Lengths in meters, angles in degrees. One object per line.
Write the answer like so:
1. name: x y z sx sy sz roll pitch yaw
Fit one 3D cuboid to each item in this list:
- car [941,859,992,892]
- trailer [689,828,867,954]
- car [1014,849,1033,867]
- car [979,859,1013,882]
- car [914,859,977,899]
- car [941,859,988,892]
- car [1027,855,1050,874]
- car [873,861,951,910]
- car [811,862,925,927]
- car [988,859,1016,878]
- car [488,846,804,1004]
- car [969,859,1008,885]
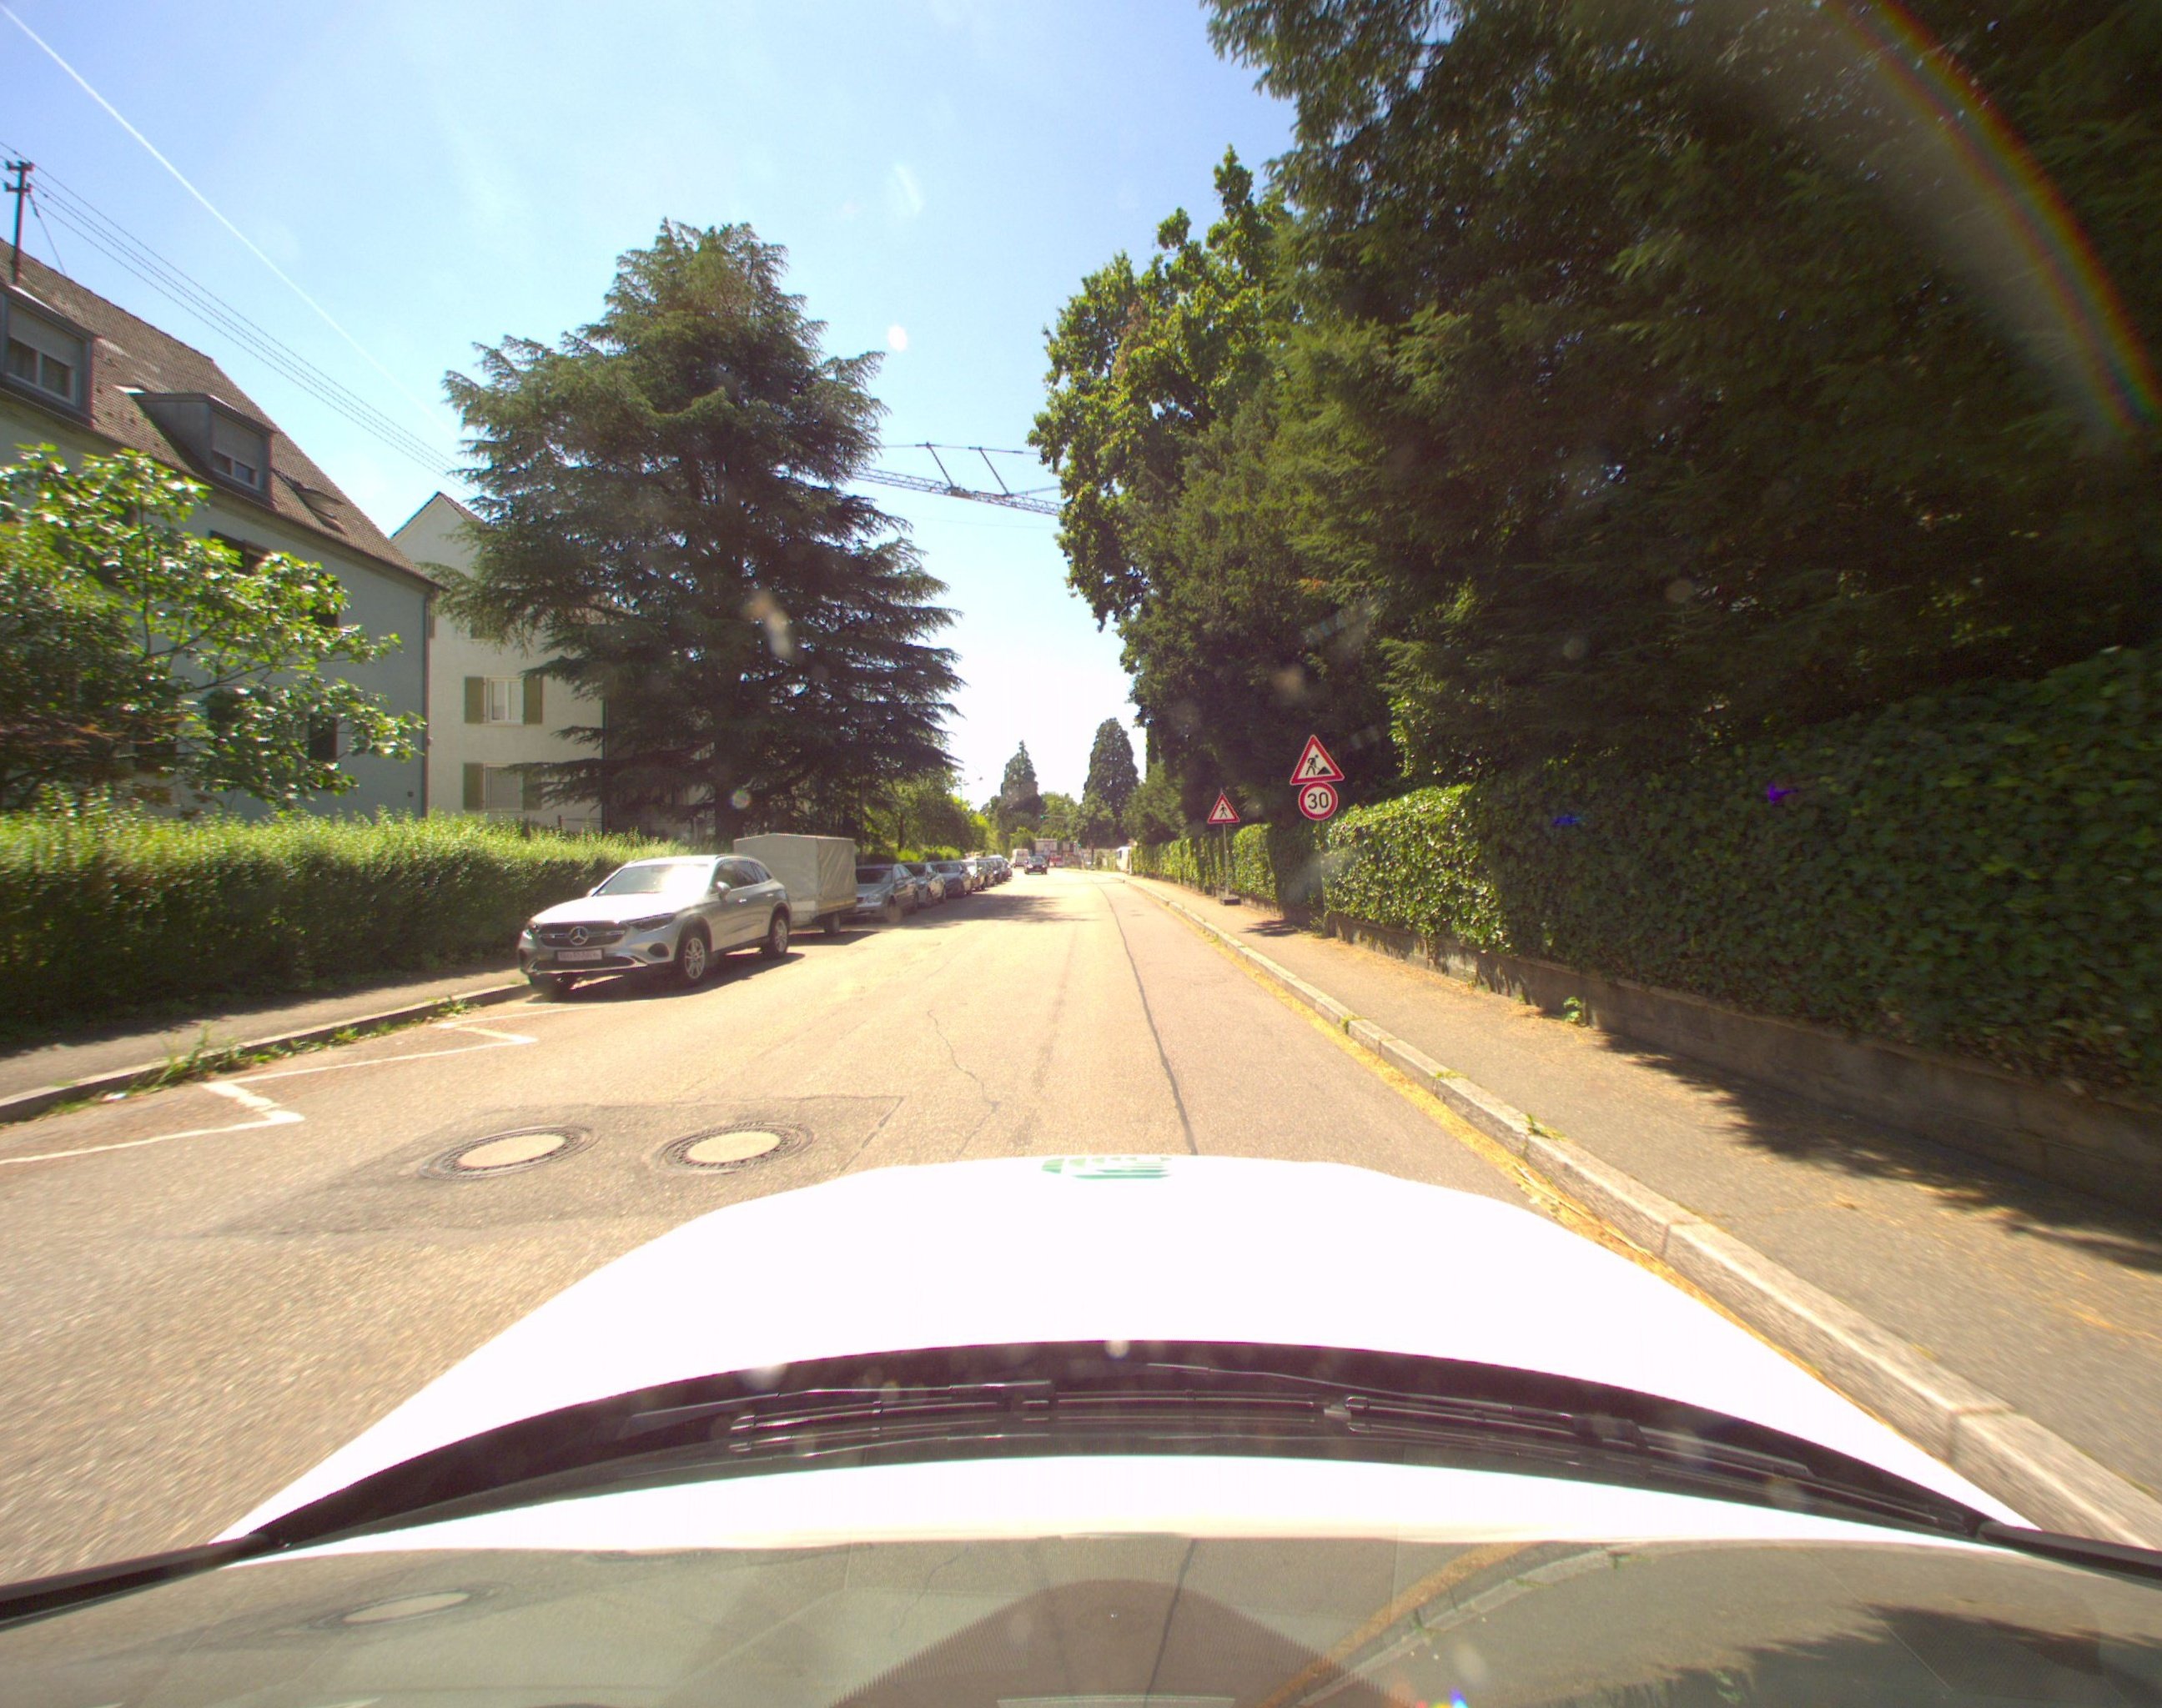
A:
1. car: -5.330 0.975 38.421 1.682 1.444 4.137 -2 0 1
2. trailer: -5.668 0.641 15.843 1.842 2.040 4.162 -3 0 -1
3. car: -7.764 0.574 109.376 2.142 2.315 4.839 -2 0 -8
4. car: -5.559 1.050 53.886 1.682 1.444 4.137 -2 0 1
5. car: -5.351 0.951 32.723 1.682 1.444 4.137 -2 0 1
6. car: -5.440 0.965 38.480 1.684 1.449 3.999 -1 0 -1
7. car: -3.682 0.892 70.726 1.847 1.584 4.132 -2 0 -2
8. car: -5.410 0.975 26.508 1.577 1.390 3.884 -1 0 1
9. car: -5.450 0.980 21.456 1.703 1.439 4.323 -3 0 1
10. car: -6.351 1.128 65.794 1.682 1.444 4.137 -2 0 1
11. car: -5.628 0.805 11.395 1.845 1.671 4.711 -3 0 0
12. car: -5.461 1.036 48.616 1.682 1.444 4.137 -2 0 1
